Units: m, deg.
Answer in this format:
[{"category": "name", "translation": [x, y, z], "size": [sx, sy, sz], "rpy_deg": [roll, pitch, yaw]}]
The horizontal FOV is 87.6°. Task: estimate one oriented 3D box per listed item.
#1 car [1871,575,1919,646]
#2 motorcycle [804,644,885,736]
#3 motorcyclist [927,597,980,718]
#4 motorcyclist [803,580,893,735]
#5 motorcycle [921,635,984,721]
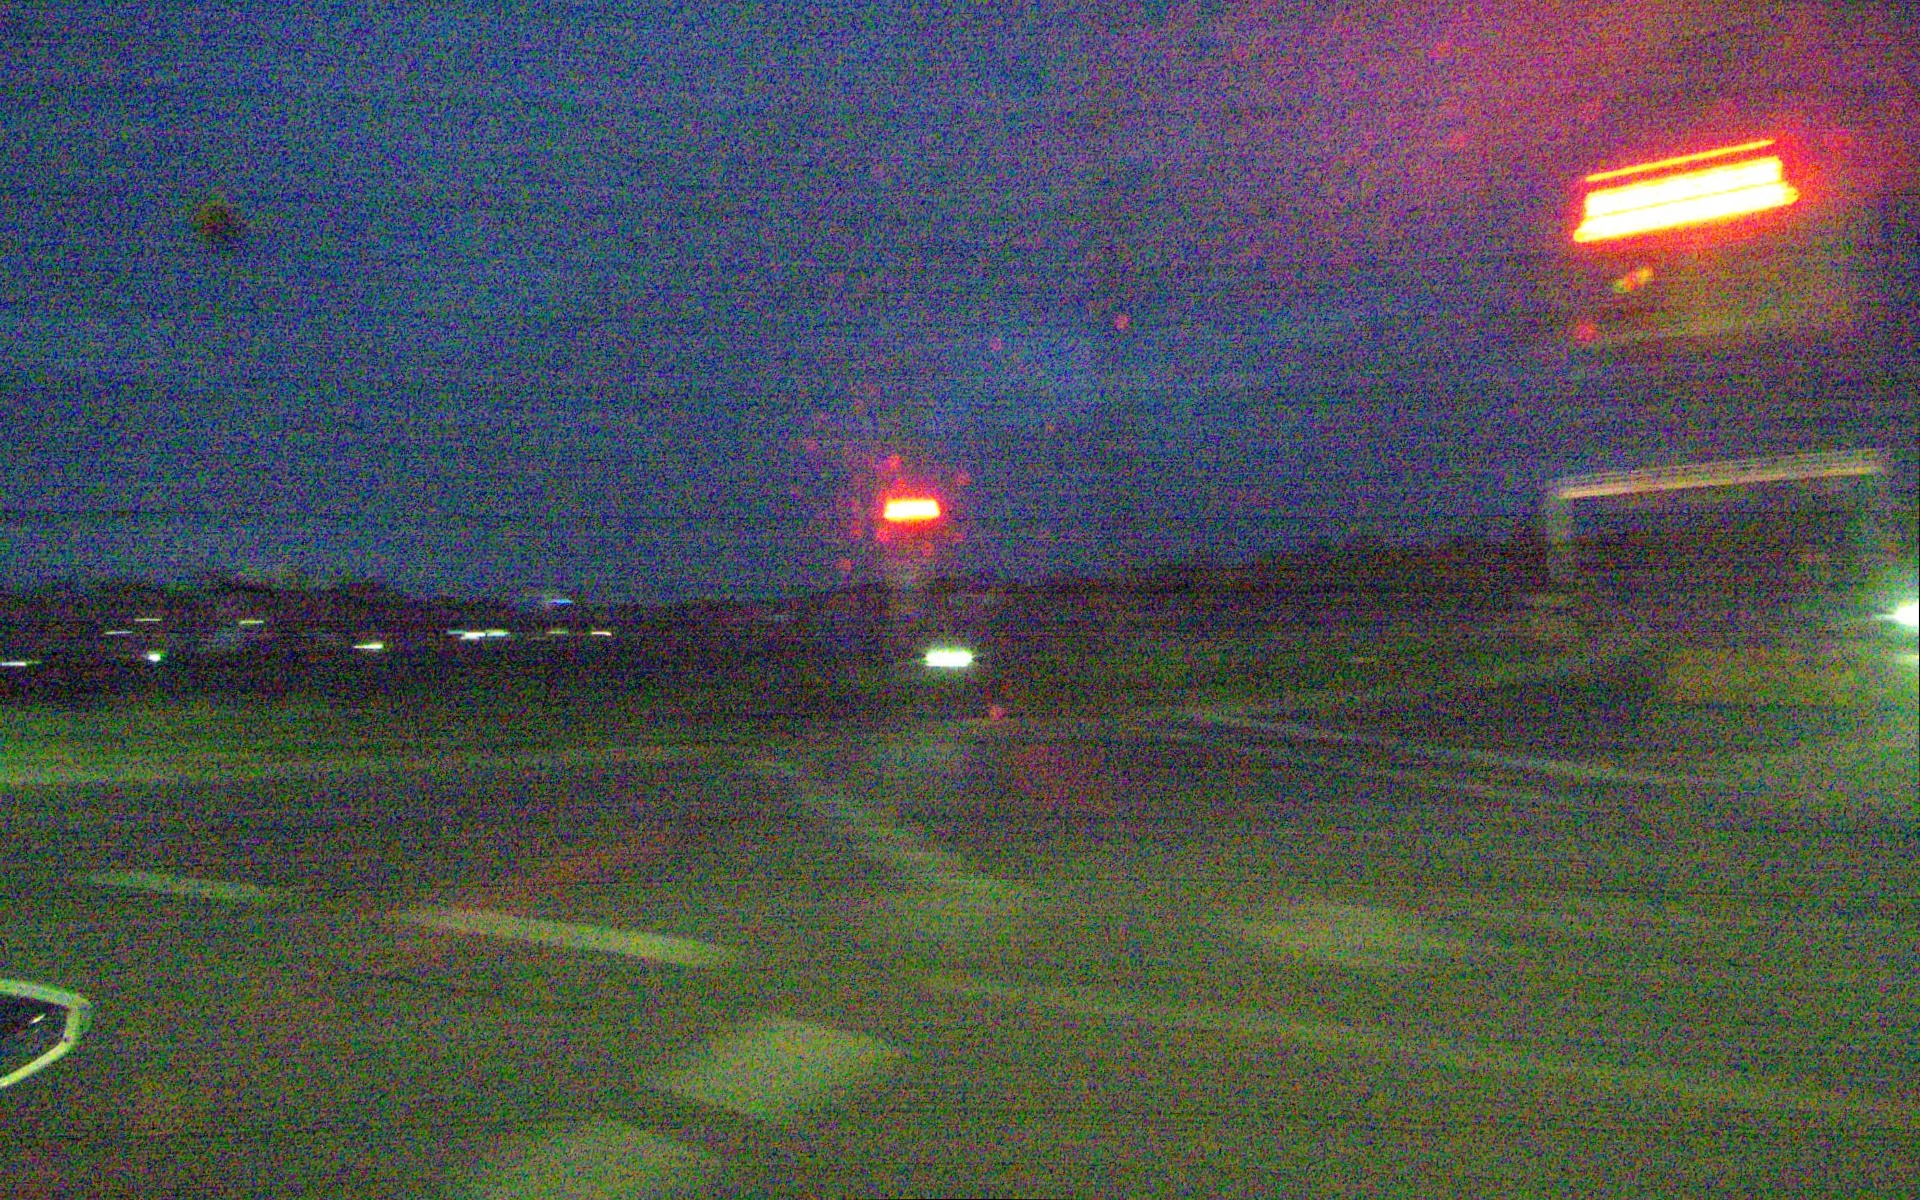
[{"category": "car", "translation": [20.942, 0.169, 21.105], "size": [1.812, 1.408, 4.372], "rpy_deg": [-2, 0, 32]}, {"category": "motorcycle", "translation": [-1.437, 1.141, 12.687], "size": [0.709, 1.045, 1.579], "rpy_deg": [-4, -5, 3]}, {"category": "motorcyclist", "translation": [-0.089, 0.888, 15.455], "size": [0.671, 1.780, 0.791], "rpy_deg": [-4, -3, 2]}, {"category": "motorcyclist", "translation": [-1.405, 0.737, 12.684], "size": [0.899, 1.829, 0.872], "rpy_deg": [-4, -4, 3]}, {"category": "motorcycle", "translation": [-0.087, 1.211, 15.572], "size": [0.833, 1.195, 1.824], "rpy_deg": [-4, -4, 2]}]
